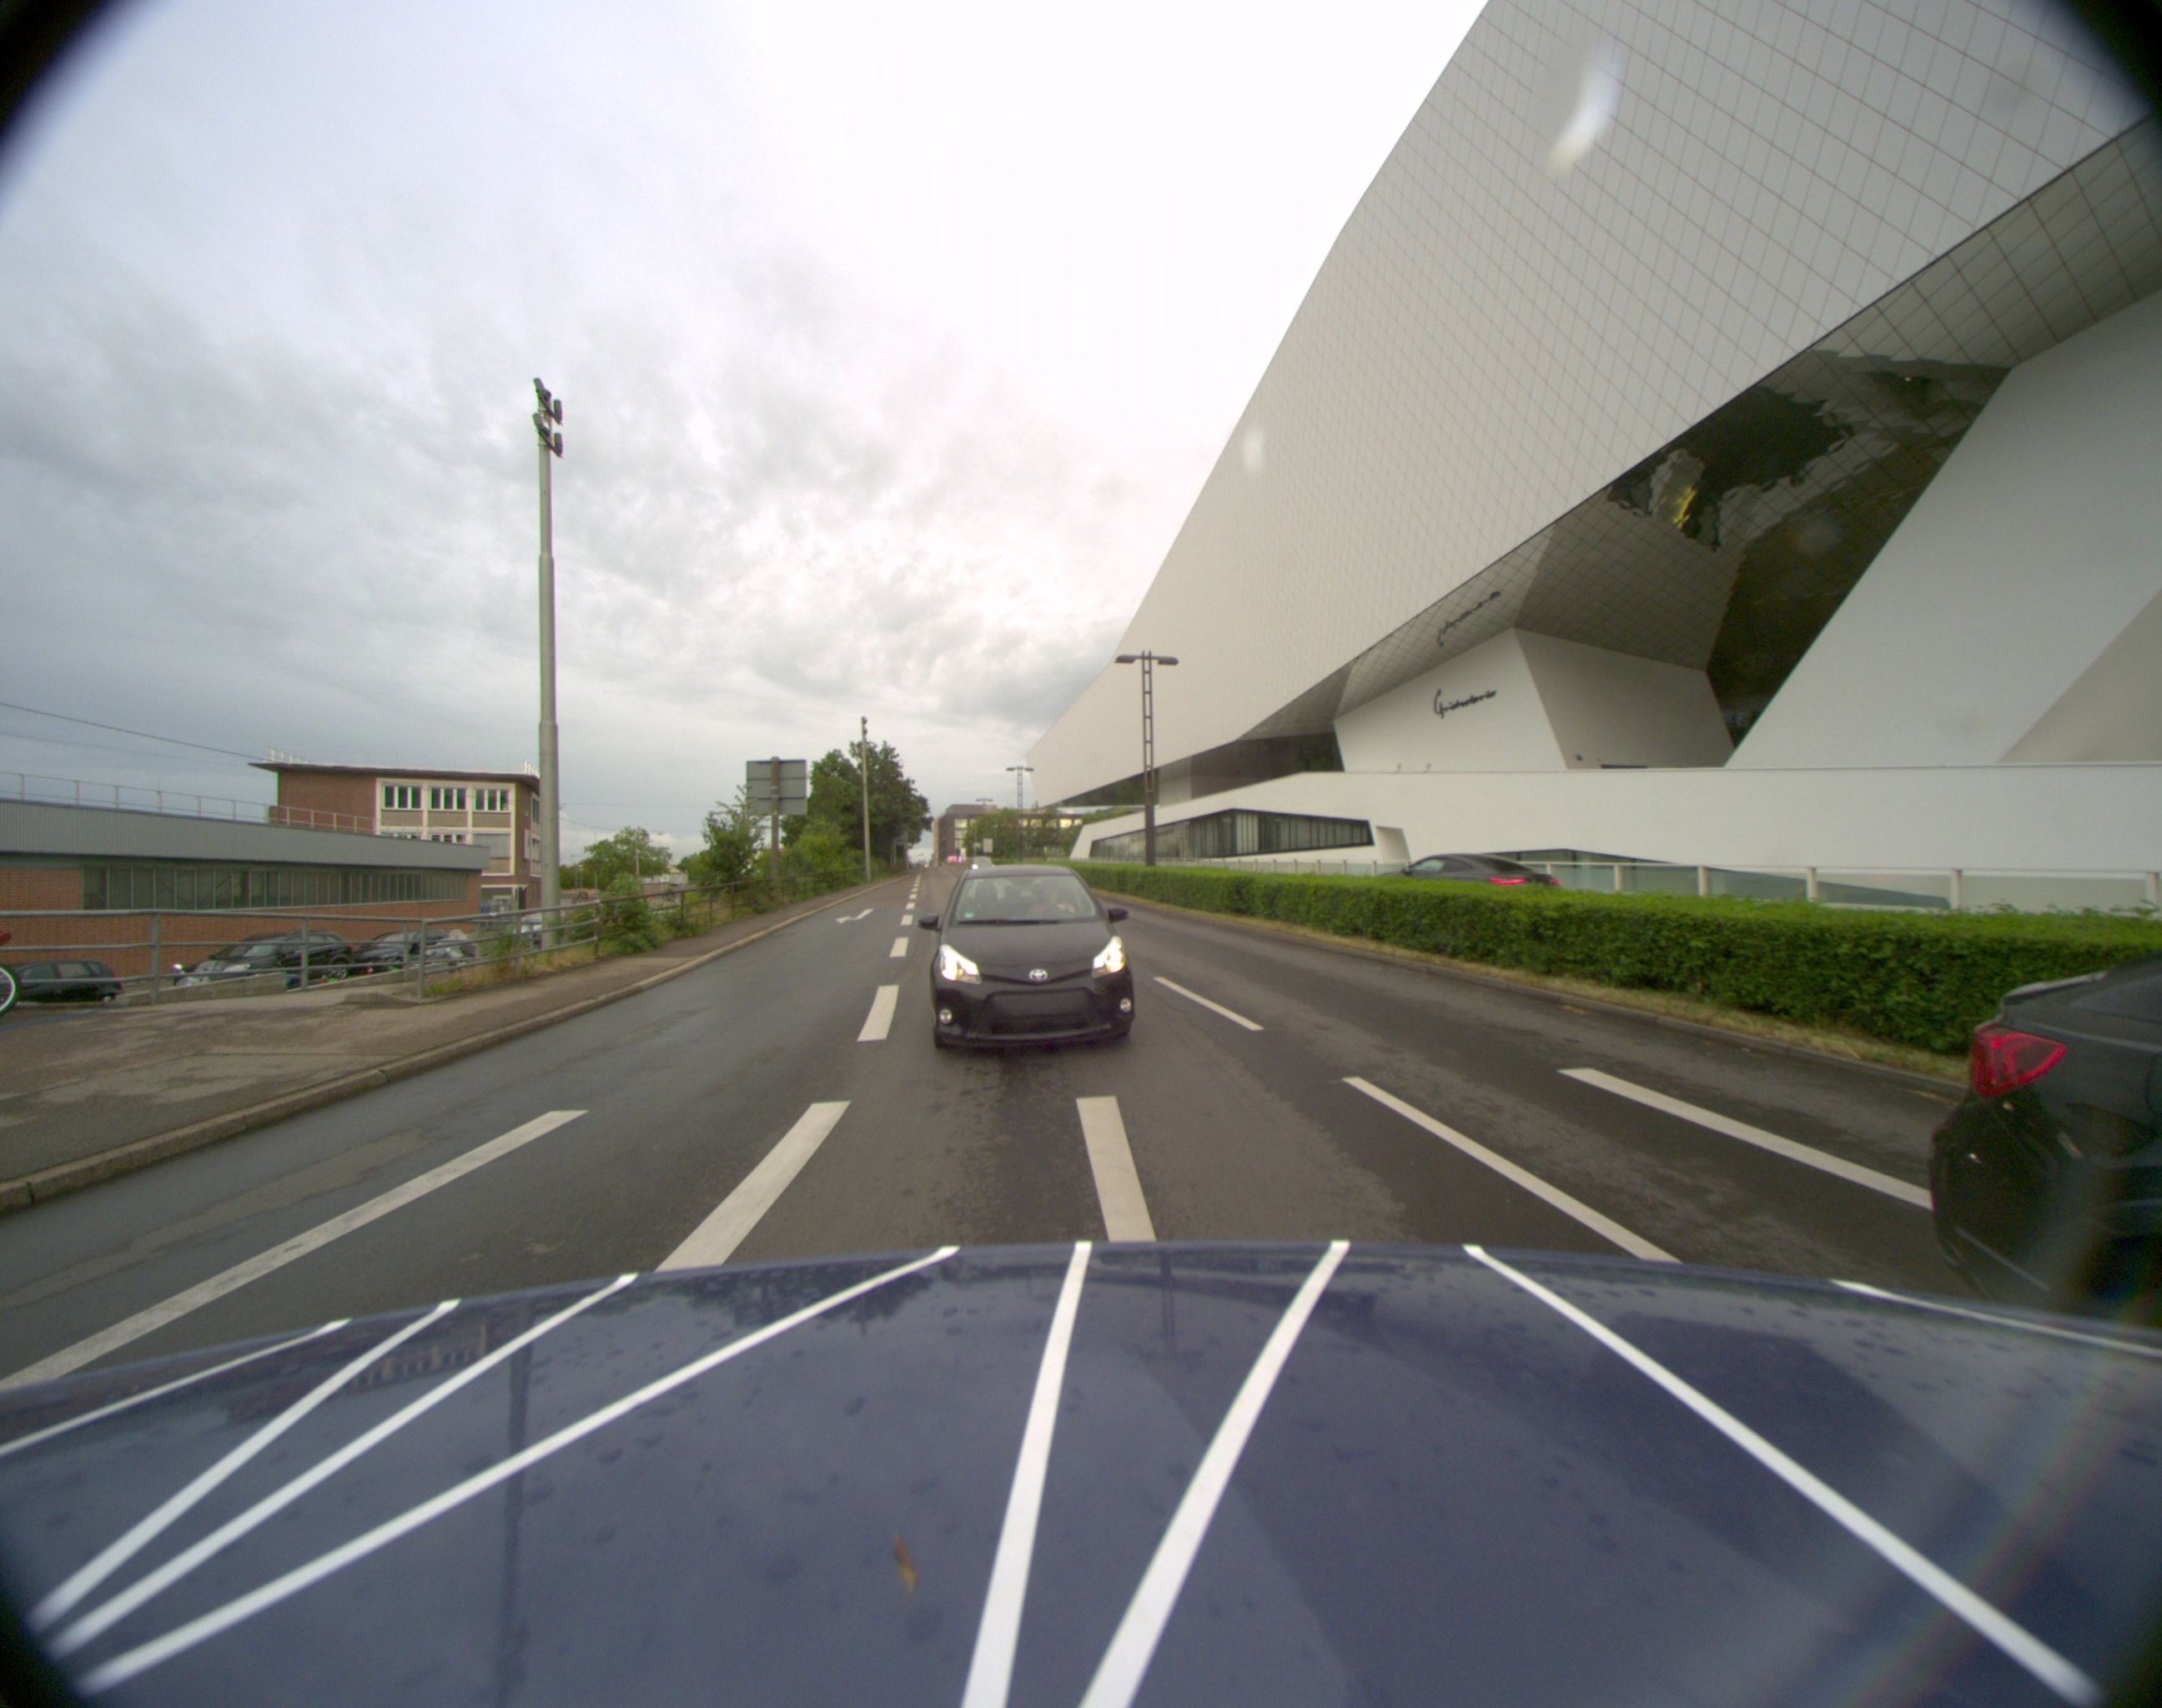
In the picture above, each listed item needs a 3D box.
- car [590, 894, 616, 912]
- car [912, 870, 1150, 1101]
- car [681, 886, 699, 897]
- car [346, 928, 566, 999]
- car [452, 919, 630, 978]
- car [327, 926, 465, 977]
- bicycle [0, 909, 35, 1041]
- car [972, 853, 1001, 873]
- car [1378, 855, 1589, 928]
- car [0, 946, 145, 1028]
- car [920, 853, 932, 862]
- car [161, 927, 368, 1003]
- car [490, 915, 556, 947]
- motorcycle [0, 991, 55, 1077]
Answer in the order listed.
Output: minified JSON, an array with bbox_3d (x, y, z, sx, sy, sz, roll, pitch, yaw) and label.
[{"bbox_3d":[-42.123,4.282,67.028,1.723,1.417,3.991,-1,-1,-30],"label":"car"},{"bbox_3d":[-0.628,0.988,7.552,1.695,1.498,4.008,-2,1,-8],"label":"car"},{"bbox_3d":[-55.307,5.315,107.544,1.724,1.417,3.991,-1,-1,-34],"label":"car"},{"bbox_3d":[-14.992,2.612,18.357,3.995,1.417,1.722,-2,-1,5],"label":"car"},{"bbox_3d":[-15.542,2.698,21.994,3.995,1.417,1.722,-2,-1,5],"label":"car"},{"bbox_3d":[-25.694,3.597,28.730,1.720,1.396,4.273,-2,-1,-7],"label":"car"},{"bbox_3d":[-10.404,1.089,6.566,1.547,1.148,0.450,0,2,-27],"label":"bicycle"},{"bbox_3d":[-7.565,0.686,60.456,1.819,1.430,4.297,-2,0,-12],"label":"car"},{"bbox_3d":[8.490,0.715,16.472,1.726,1.329,3.994,-1,0,-17],"label":"car"},{"bbox_3d":[-23.185,2.912,16.276,1.721,1.417,3.997,-2,-1,-10],"label":"car"},{"bbox_3d":[-28.347,0.647,138.801,1.750,1.466,4.063,-2,1,-14],"label":"car"},{"bbox_3d":[-24.449,3.261,23.048,1.784,1.657,4.503,-2,-1,-7],"label":"car"},{"bbox_3d":[-30.214,4.133,41.277,1.735,1.380,3.994,-2,-1,-19],"label":"car"},{"bbox_3d":[-13.213,2.165,8.753,1.618,0.916,0.420,-3,1,-24],"label":"motorcycle"}]
